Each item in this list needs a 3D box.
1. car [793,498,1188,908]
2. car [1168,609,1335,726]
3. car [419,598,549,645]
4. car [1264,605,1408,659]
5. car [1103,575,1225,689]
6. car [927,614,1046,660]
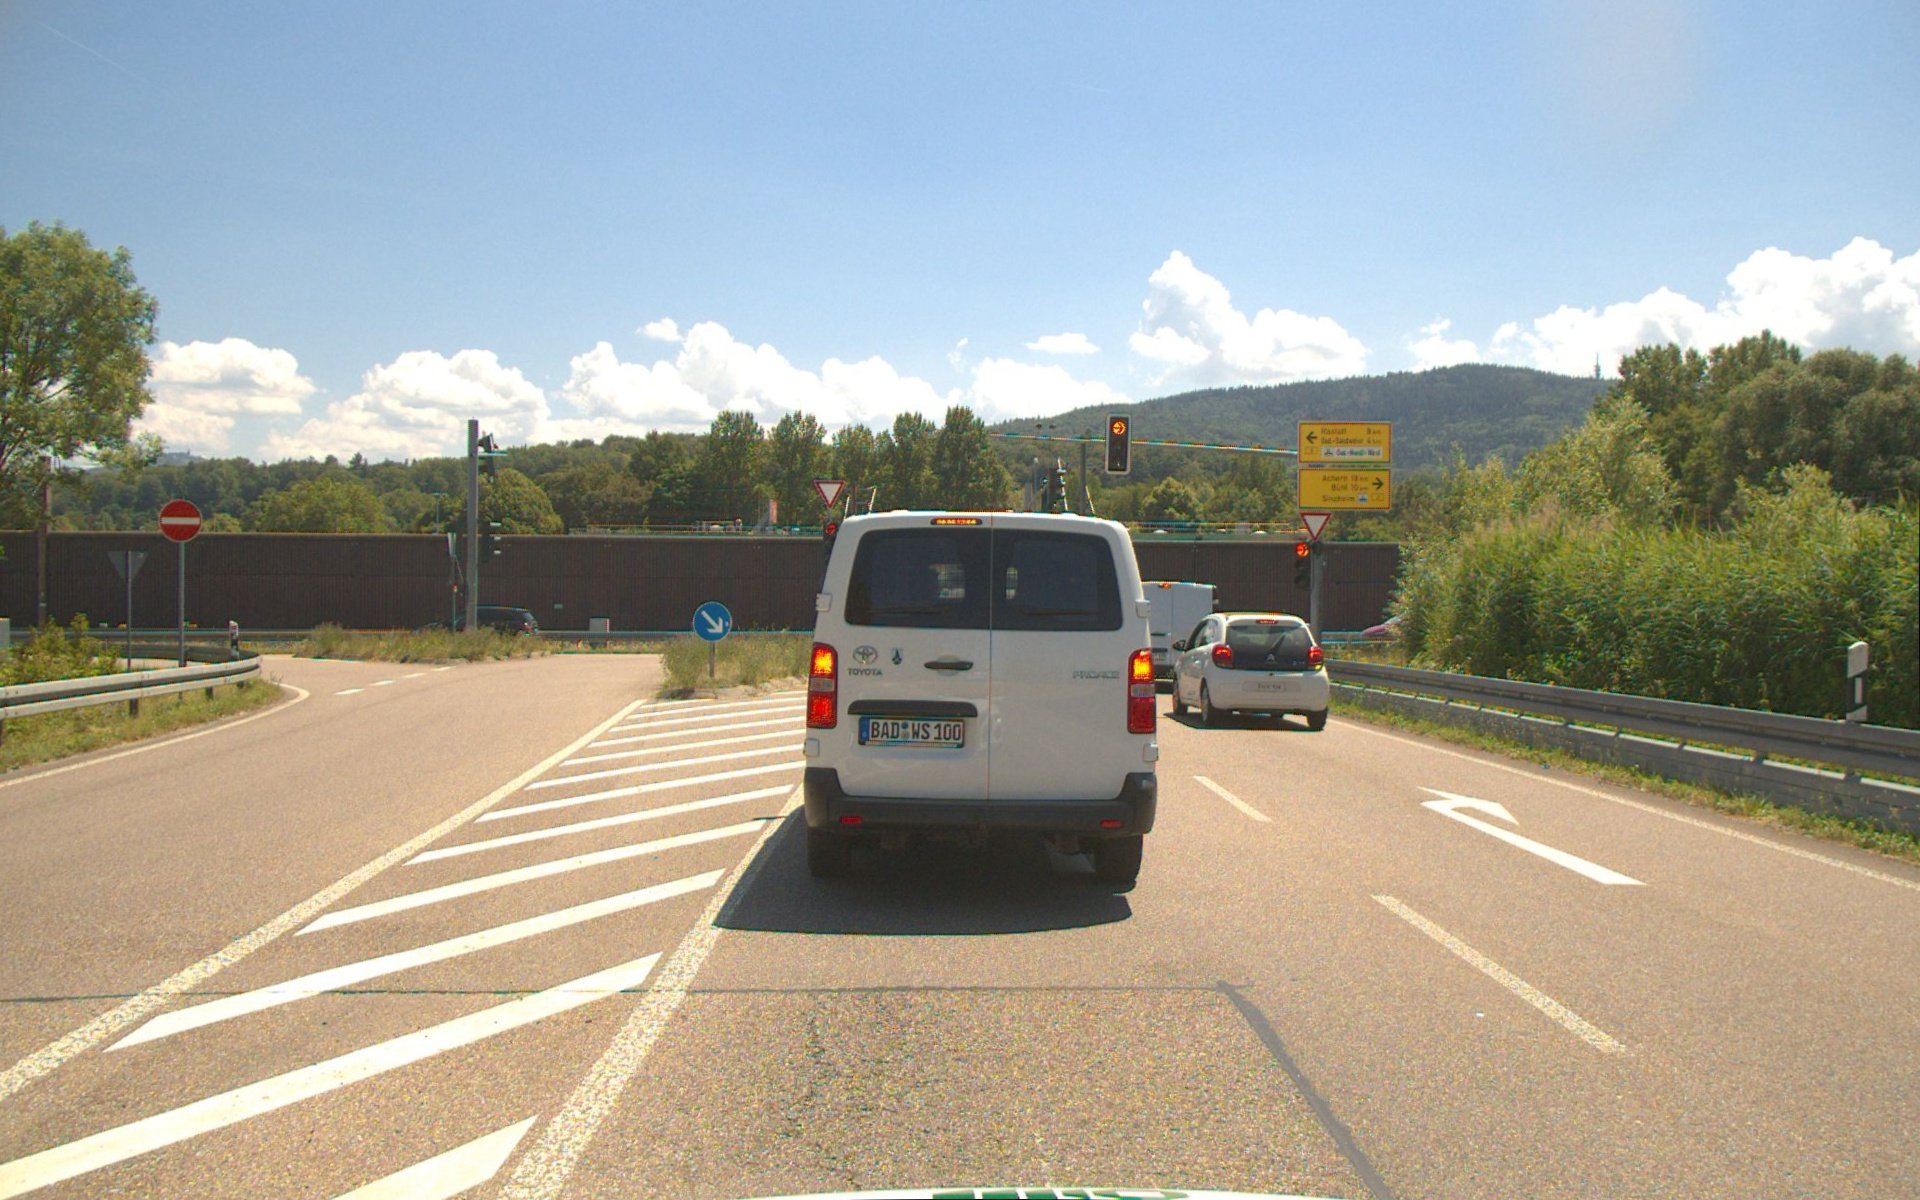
[{"bbox_3d":[0.119,0.503,9.859,1.848,1.919,3.999,1,0,-1],"label":"car"},{"bbox_3d":[3.888,0.861,22.545,1.622,1.456,3.365,1,0,-1],"label":"car"},{"bbox_3d":[-16.144,0.726,56.263,3.909,1.511,1.998,1,0,-5],"label":"car"},{"bbox_3d":[12.267,1.028,54.109,4.224,1.685,1.999,1,0,-4],"label":"car"},{"bbox_3d":[3.908,0.597,32.440,1.888,2.035,4.838,1,0,1],"label":"car"},{"bbox_3d":[0.874,1.249,56.586,3.907,1.511,1.999,1,-1,-3],"label":"car"}]
